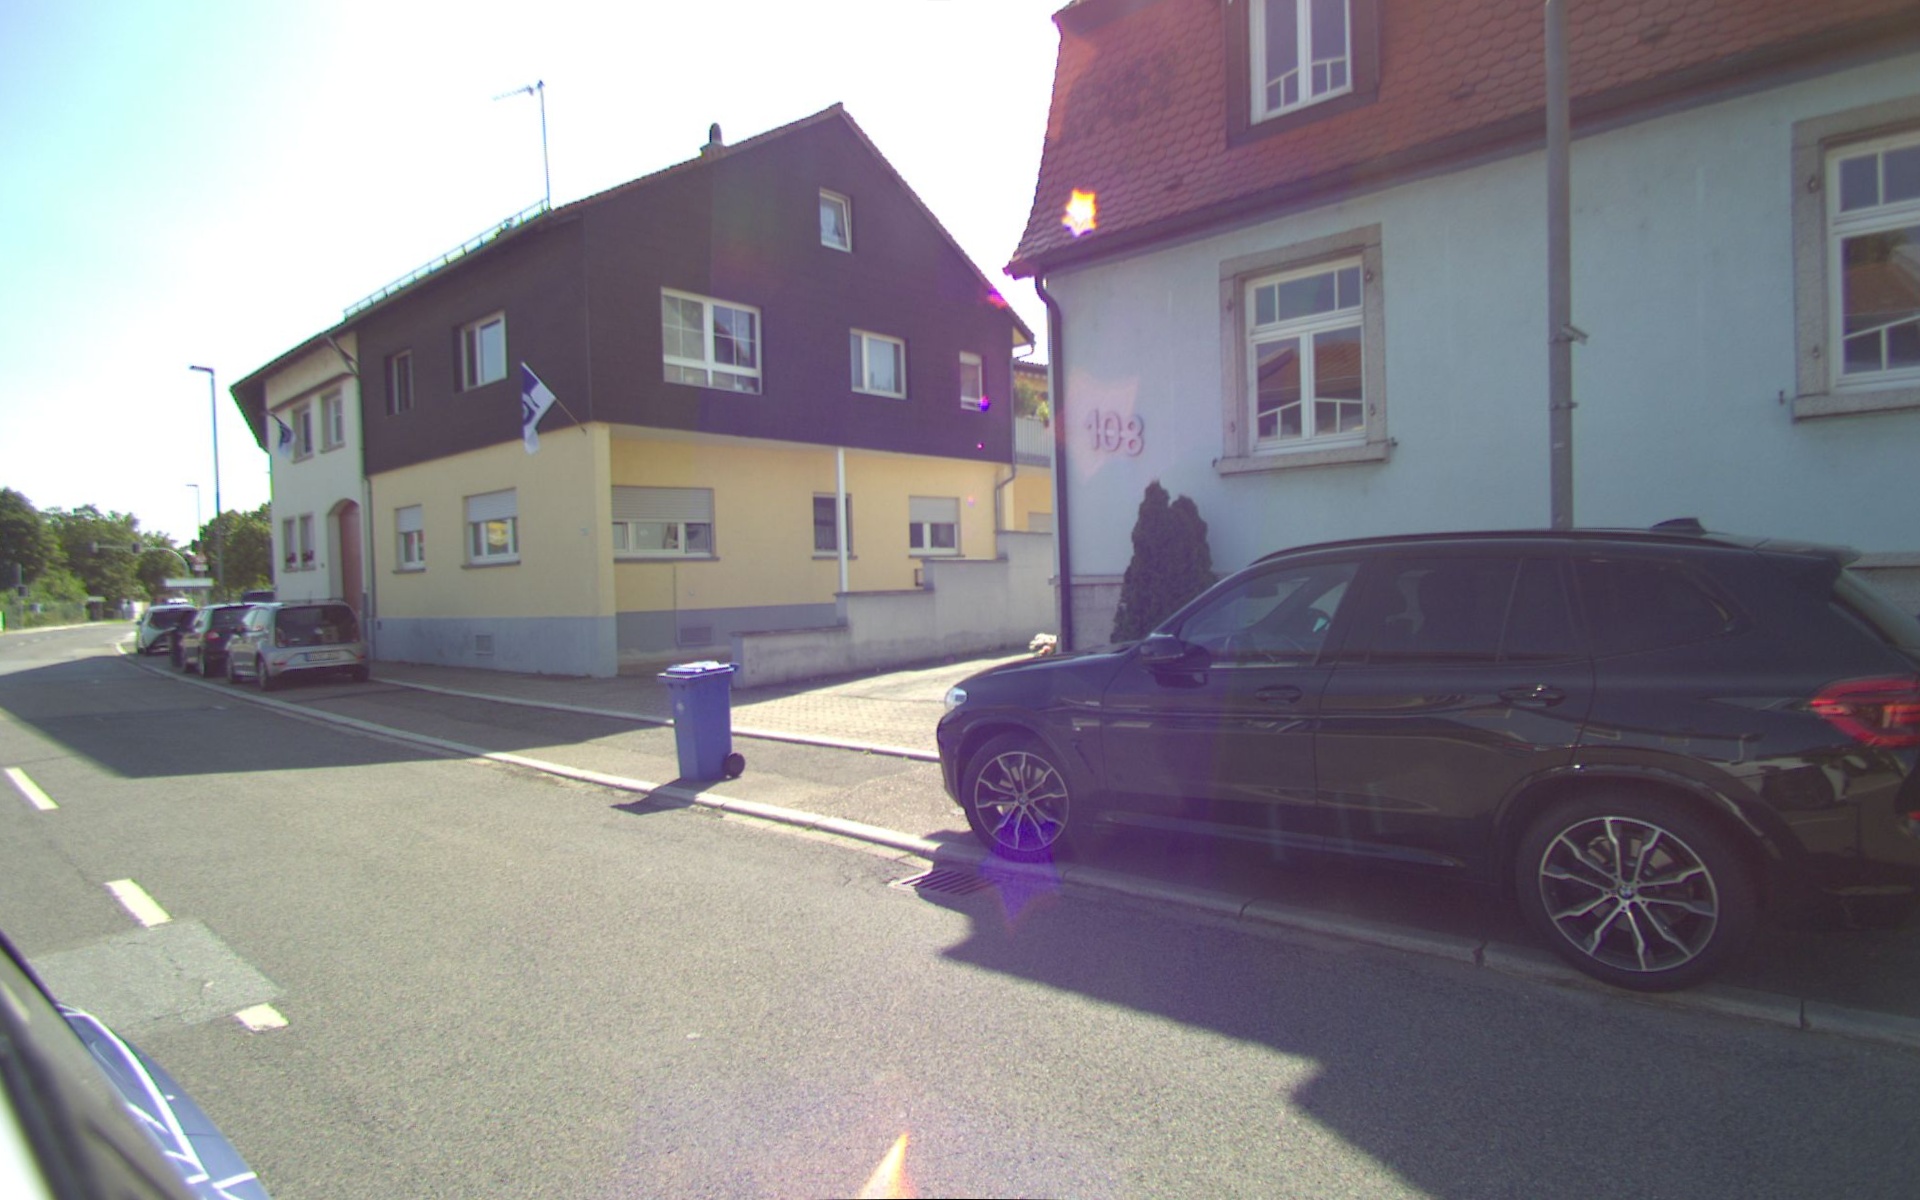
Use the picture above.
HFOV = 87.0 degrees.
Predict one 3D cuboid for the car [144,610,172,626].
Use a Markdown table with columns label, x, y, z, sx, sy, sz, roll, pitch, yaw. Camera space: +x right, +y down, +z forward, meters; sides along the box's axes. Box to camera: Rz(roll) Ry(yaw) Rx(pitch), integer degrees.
| label | x | y | z | sx | sy | sz | roll | pitch | yaw |
| --- | --- | --- | --- | --- | --- | --- | --- | --- | --- |
| car | -87.458 | 1.985 | 110.438 | 1.816 | 1.604 | 4.118 | -1 | 1 | -31 |

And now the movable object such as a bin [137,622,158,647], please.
| label | x | y | z | sx | sy | sz | roll | pitch | yaw |
| --- | --- | --- | --- | --- | --- | --- | --- | --- | --- |
| movable object such as a bin | -32.896 | 1.383 | 40.956 | 0.514 | 0.943 | 0.551 | -1 | 3 | 43 |

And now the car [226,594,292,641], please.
| label | x | y | z | sx | sy | sz | roll | pitch | yaw |
| --- | --- | --- | --- | --- | --- | --- | --- | --- | --- |
| car | -30.718 | 0.737 | 44.481 | 1.811 | 1.806 | 4.356 | -5 | 2 | -29 |

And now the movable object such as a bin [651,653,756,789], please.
| label | x | y | z | sx | sy | sz | roll | pitch | yaw |
| --- | --- | --- | --- | --- | --- | --- | --- | --- | --- |
| movable object such as a bin | -2.074 | 0.950 | 8.201 | 0.531 | 0.989 | 0.590 | -1 | 2 | 41 |

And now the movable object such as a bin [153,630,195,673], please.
| label | x | y | z | sx | sy | sz | roll | pitch | yaw |
| --- | --- | --- | --- | --- | --- | --- | --- | --- | --- |
| movable object such as a bin | -18.749 | 1.220 | 24.135 | 0.824 | 0.935 | 0.546 | -2 | 4 | 39 |

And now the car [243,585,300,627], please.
| label | x | y | z | sx | sy | sz | roll | pitch | yaw |
| --- | --- | --- | --- | --- | --- | --- | --- | --- | --- |
| car | -37.943 | 0.290 | 55.731 | 2.100 | 2.000 | 5.276 | -8 | 5 | -37 |

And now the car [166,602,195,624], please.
| label | x | y | z | sx | sy | sz | roll | pitch | yaw |
| --- | --- | --- | --- | --- | --- | --- | --- | --- | --- |
| car | -92.756 | 1.480 | 120.482 | 1.907 | 2.521 | 5.856 | -1 | 1 | -30 |

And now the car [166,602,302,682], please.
| label | x | y | z | sx | sy | sz | roll | pitch | yaw |
| --- | --- | --- | --- | --- | --- | --- | --- | --- | --- |
| car | -15.747 | 0.839 | 21.870 | 3.997 | 1.447 | 1.660 | -1 | 4 | 45 |

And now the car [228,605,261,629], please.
| label | x | y | z | sx | sy | sz | roll | pitch | yaw |
| --- | --- | --- | --- | --- | --- | --- | --- | --- | --- |
| car | -48.140 | 1.184 | 68.126 | 1.692 | 1.464 | 3.924 | -3 | 0 | -35 |

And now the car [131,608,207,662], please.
| label | x | y | z | sx | sy | sz | roll | pitch | yaw |
| --- | --- | --- | --- | --- | --- | --- | --- | --- | --- |
| car | -24.446 | 1.027 | 31.236 | 1.663 | 1.473 | 3.655 | -3 | 2 | -40 |

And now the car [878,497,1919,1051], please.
| label | x | y | z | sx | sy | sz | roll | pitch | yaw |
| --- | --- | --- | --- | --- | --- | --- | --- | --- | --- |
| car | 1.982 | 0.496 | 4.981 | 4.659 | 1.680 | 1.902 | -1 | 3 | 38 |

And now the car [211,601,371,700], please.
| label | x | y | z | sx | sy | sz | roll | pitch | yaw |
| --- | --- | --- | --- | --- | --- | --- | --- | --- | --- |
| car | -12.242 | 0.837 | 18.435 | 3.783 | 1.512 | 1.622 | -1 | 3 | 45 |
